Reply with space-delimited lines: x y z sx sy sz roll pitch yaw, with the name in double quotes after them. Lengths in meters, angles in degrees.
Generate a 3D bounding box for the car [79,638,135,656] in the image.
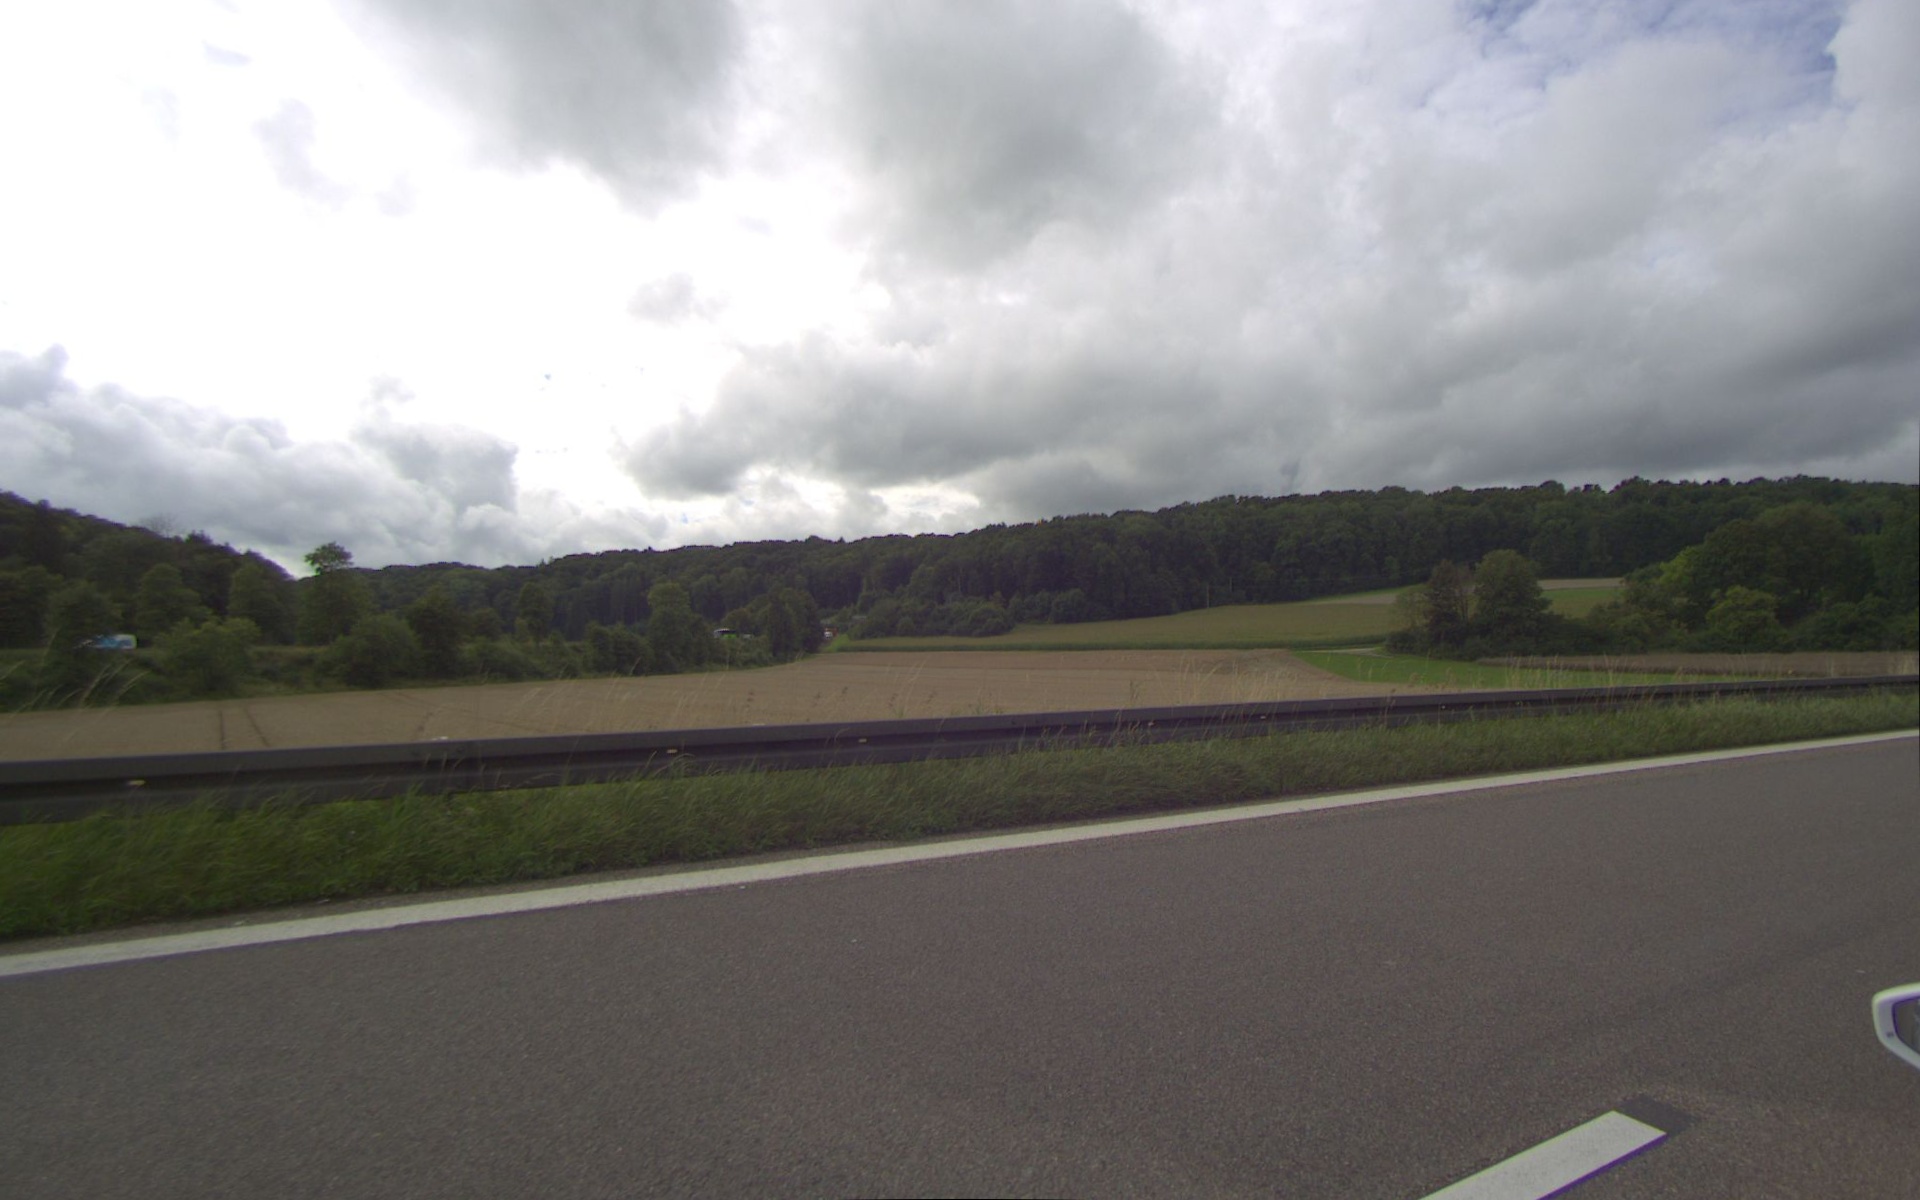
-97.771 5.398 115.222 1.960 1.831 4.461 -2 -5 18 "car"
